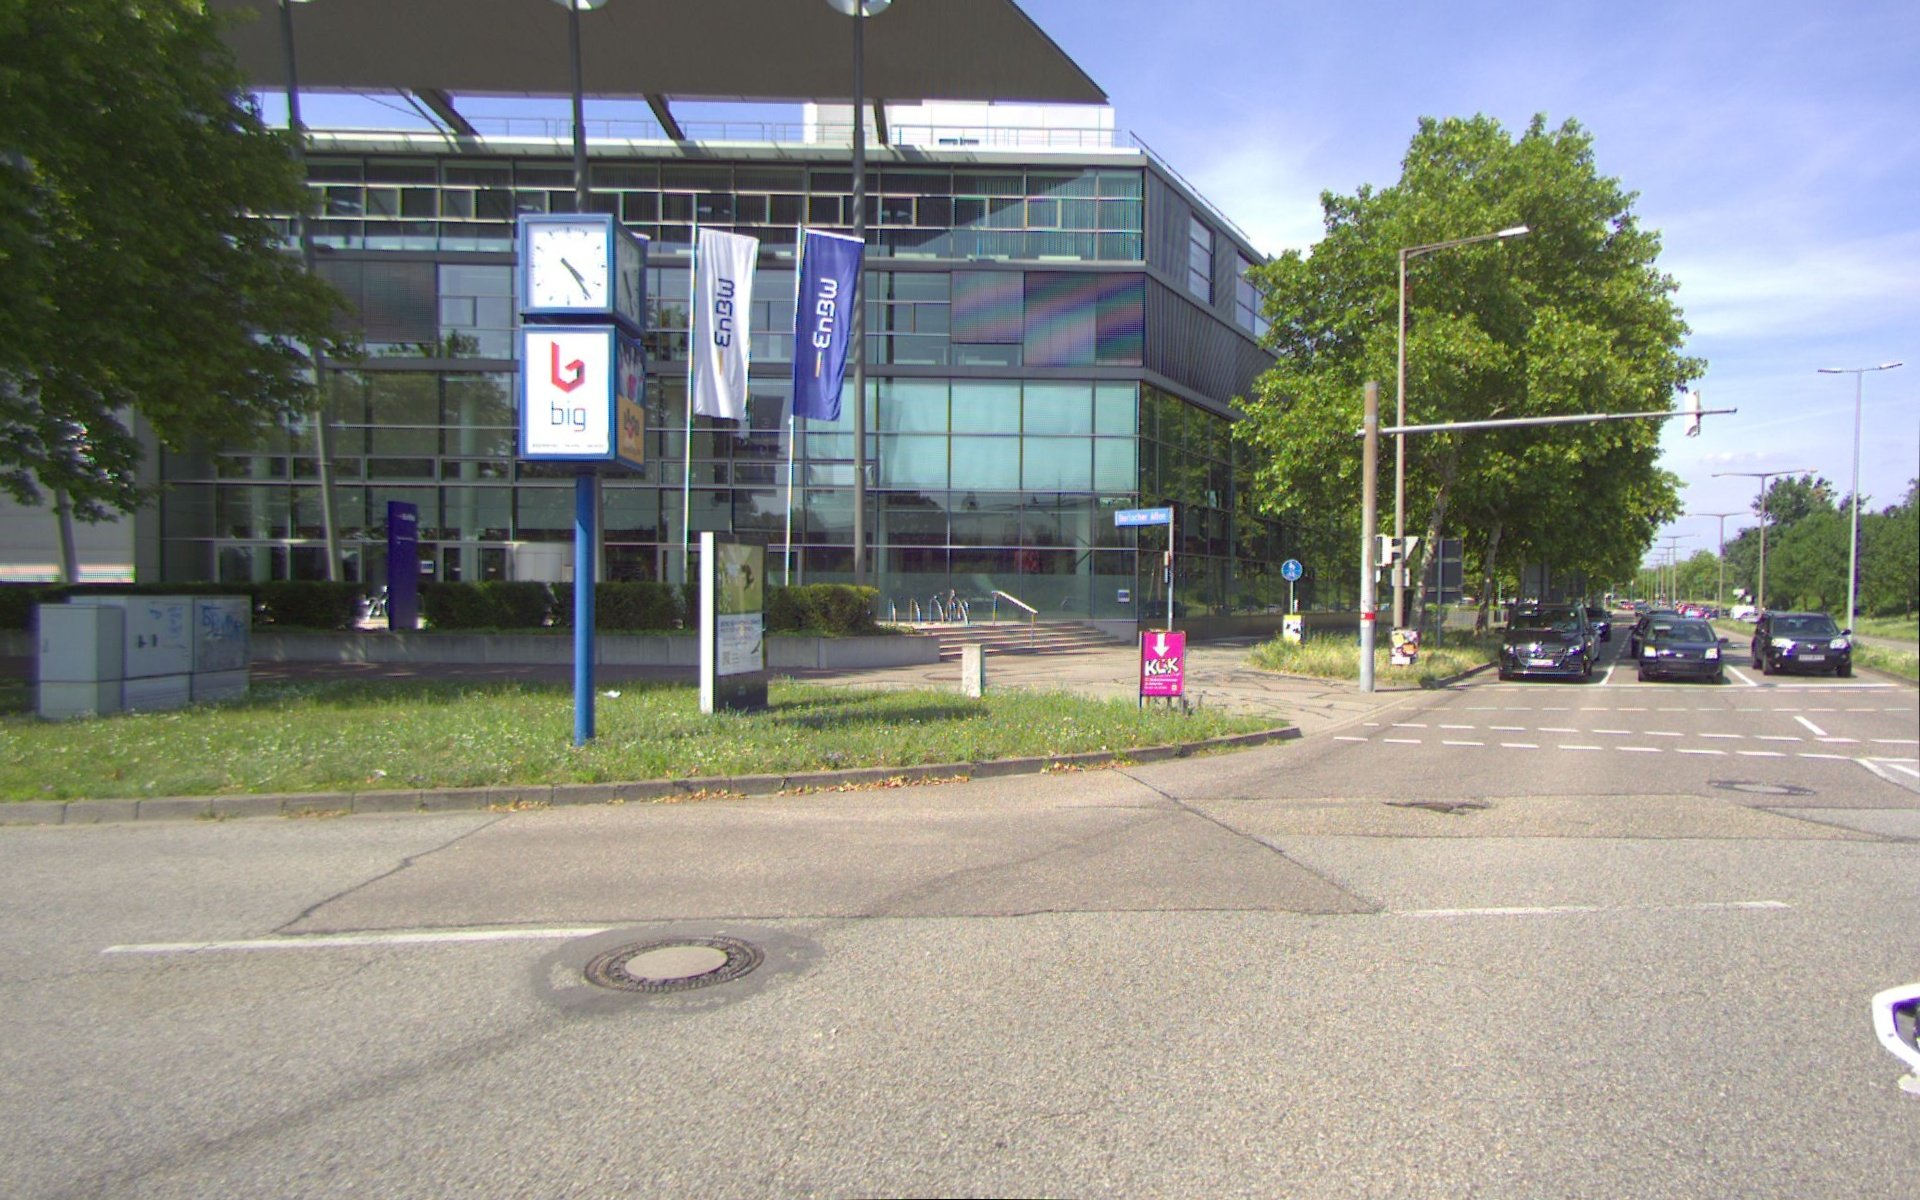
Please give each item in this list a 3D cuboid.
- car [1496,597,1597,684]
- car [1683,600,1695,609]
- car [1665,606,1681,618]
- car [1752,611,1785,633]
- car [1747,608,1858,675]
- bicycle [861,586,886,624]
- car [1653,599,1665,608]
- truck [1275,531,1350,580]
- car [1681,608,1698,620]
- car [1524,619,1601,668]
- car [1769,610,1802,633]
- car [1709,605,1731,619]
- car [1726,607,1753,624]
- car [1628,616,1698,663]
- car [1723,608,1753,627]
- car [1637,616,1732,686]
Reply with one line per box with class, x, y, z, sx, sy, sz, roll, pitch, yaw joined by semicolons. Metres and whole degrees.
car;15.232;0.927;25.954;1.912;1.946;5.212;1;1;34
car;150.376;0.925;207.228;1.885;1.870;3.989;1;1;33
car;114.399;1.910;161.232;1.885;1.870;3.989;1;1;33
car;65.471;1.771;81.340;1.713;1.557;3.987;2;3;34
car;23.029;1.058;27.620;1.782;1.637;4.478;1;0;33
bicycle;-2.695;0.144;31.346;0.725;1.126;1.799;1;0;-4
car;144.841;0.713;208.228;1.967;1.884;3.986;1;0;36
truck;28.100;-3.467;80.628;2.621;3.441;8.987;1;0;-1
car;94.770;1.824;130.514;1.604;1.503;4.036;3;2;34
car;19.998;1.365;33.231;1.866;1.468;4.988;-1;-1;35
car;75.835;1.950;92.331;1.991;1.863;3.987;2;3;34
car;97.662;1.552;129.103;1.966;1.651;4.075;1;1;34
car;81.718;1.601;105.332;1.967;1.731;4.250;1;0;35
car;23.776;1.298;34.016;1.812;1.482;4.502;-2;-1;35
car;73.829;1.657;95.346;1.966;1.706;3.988;1;1;34
car;17.875;1.189;24.934;1.737;1.495;3.946;1;1;34
